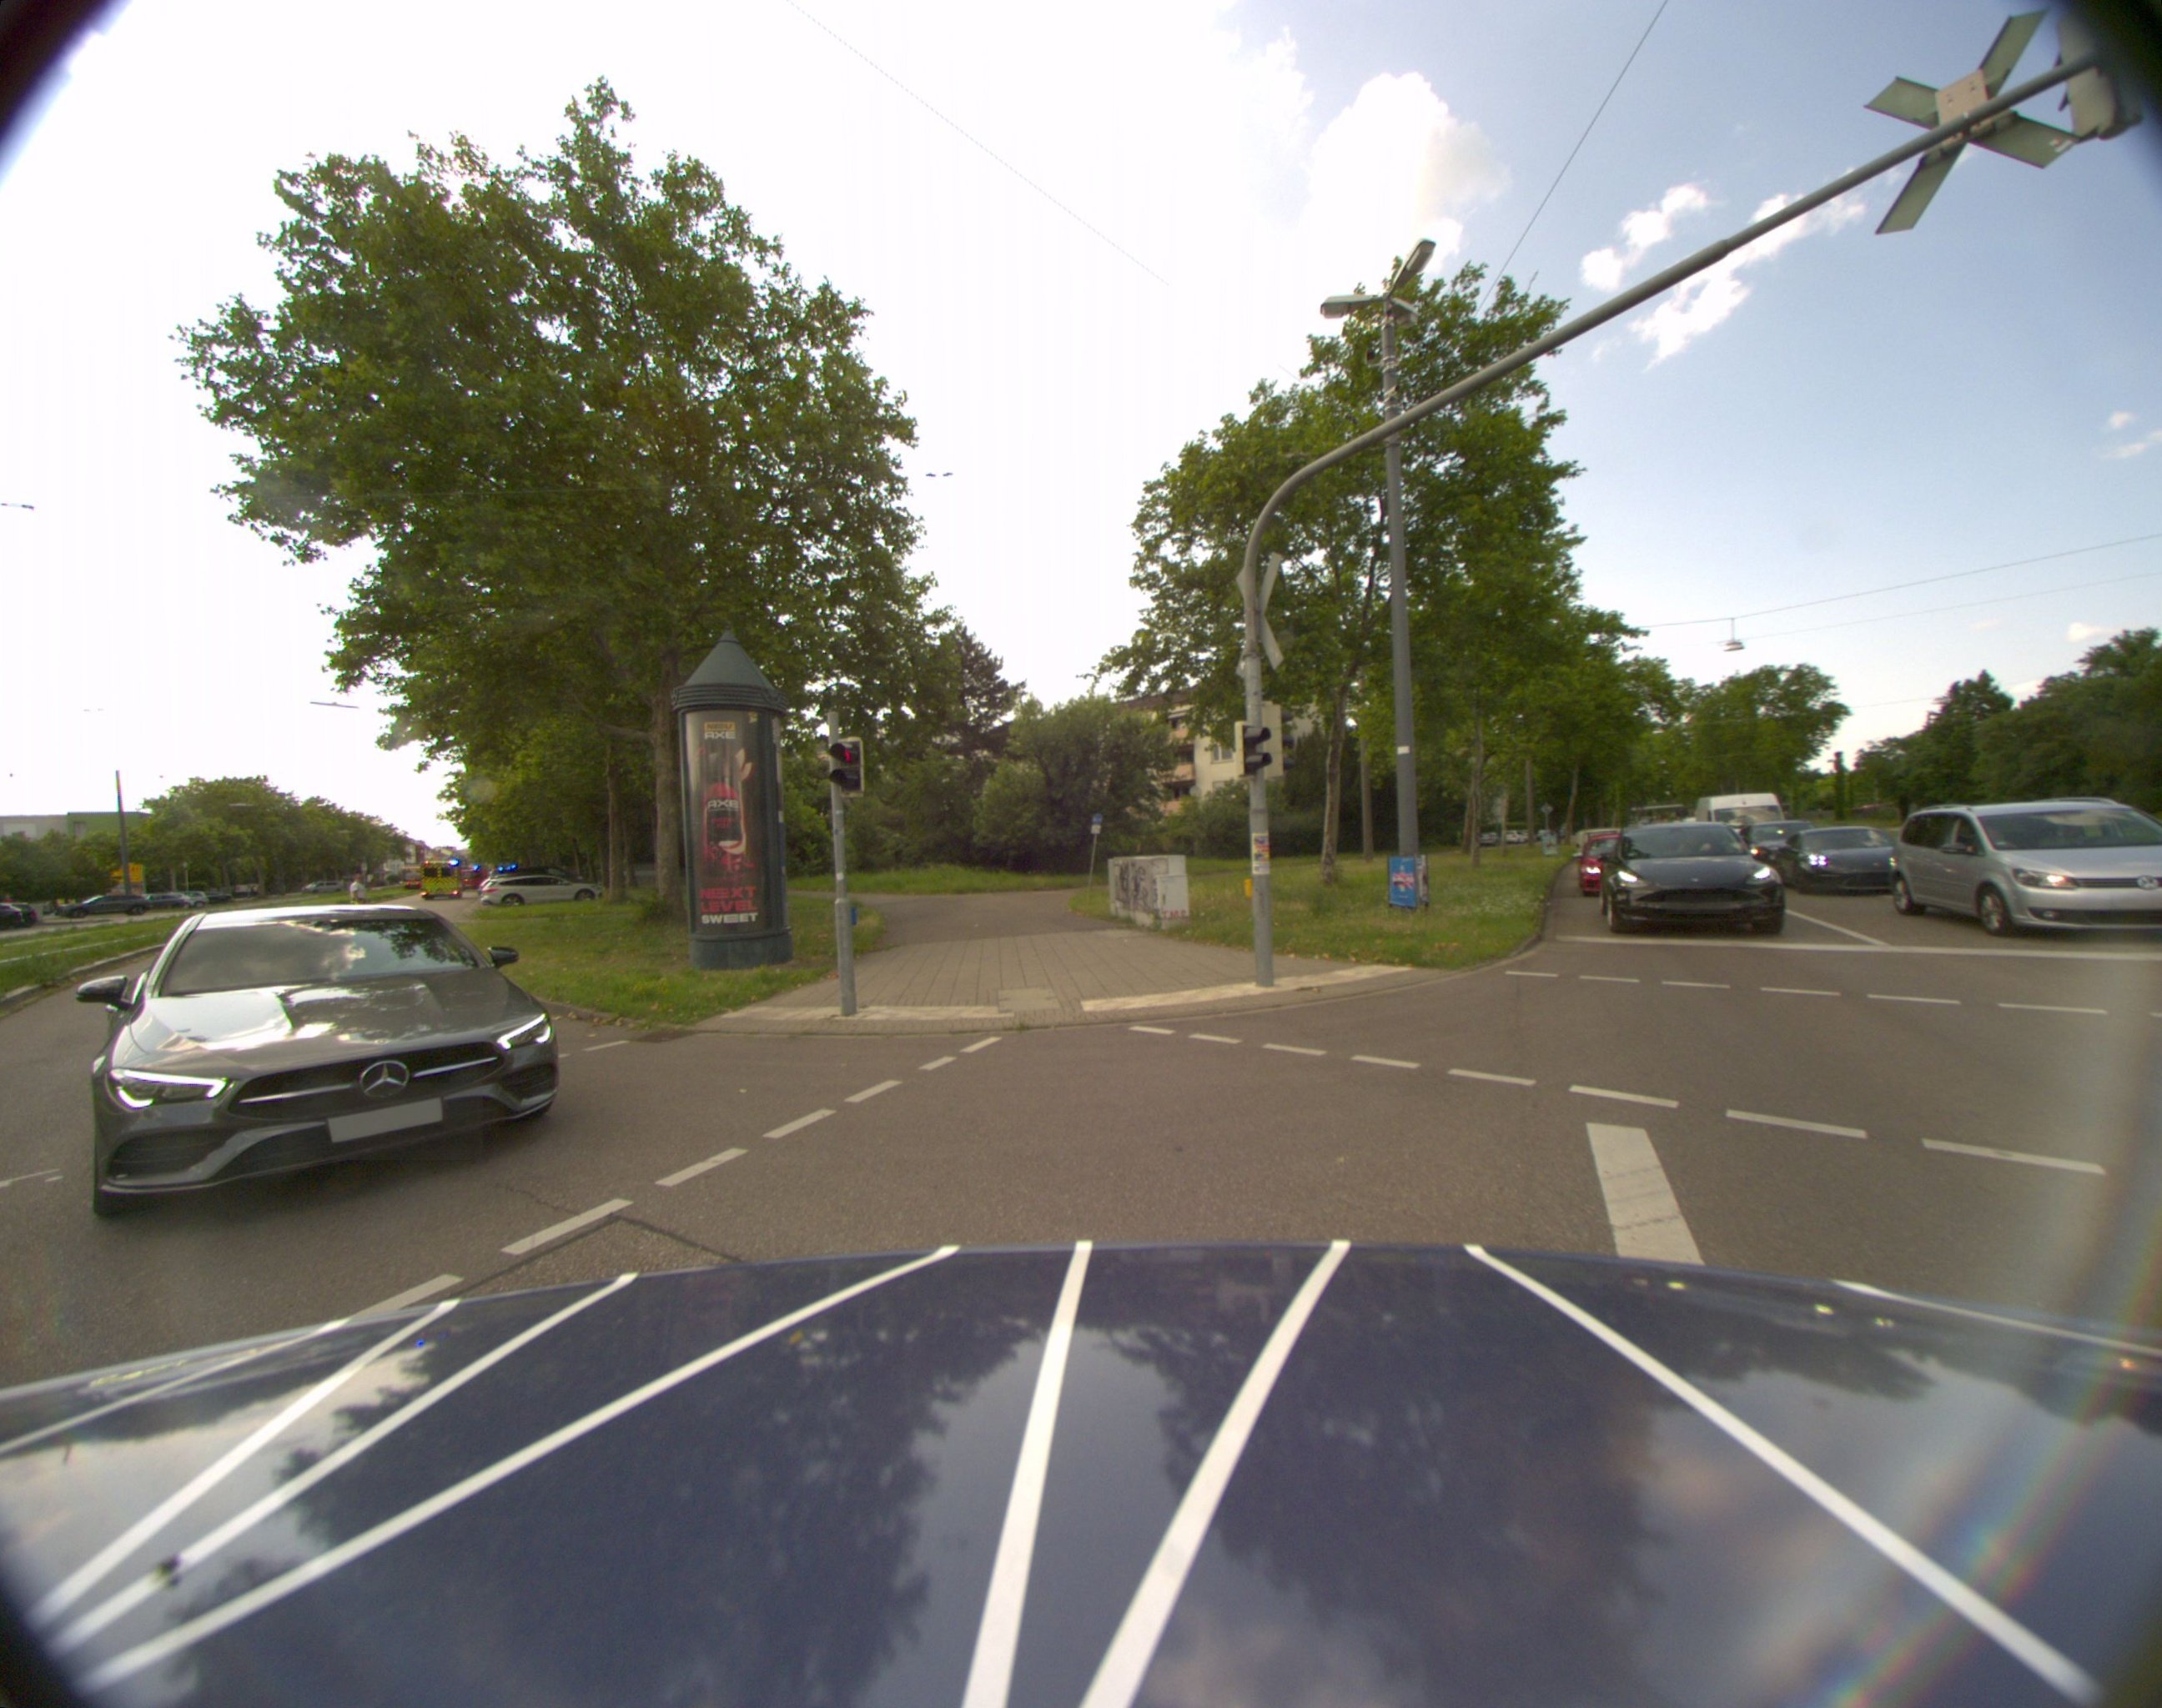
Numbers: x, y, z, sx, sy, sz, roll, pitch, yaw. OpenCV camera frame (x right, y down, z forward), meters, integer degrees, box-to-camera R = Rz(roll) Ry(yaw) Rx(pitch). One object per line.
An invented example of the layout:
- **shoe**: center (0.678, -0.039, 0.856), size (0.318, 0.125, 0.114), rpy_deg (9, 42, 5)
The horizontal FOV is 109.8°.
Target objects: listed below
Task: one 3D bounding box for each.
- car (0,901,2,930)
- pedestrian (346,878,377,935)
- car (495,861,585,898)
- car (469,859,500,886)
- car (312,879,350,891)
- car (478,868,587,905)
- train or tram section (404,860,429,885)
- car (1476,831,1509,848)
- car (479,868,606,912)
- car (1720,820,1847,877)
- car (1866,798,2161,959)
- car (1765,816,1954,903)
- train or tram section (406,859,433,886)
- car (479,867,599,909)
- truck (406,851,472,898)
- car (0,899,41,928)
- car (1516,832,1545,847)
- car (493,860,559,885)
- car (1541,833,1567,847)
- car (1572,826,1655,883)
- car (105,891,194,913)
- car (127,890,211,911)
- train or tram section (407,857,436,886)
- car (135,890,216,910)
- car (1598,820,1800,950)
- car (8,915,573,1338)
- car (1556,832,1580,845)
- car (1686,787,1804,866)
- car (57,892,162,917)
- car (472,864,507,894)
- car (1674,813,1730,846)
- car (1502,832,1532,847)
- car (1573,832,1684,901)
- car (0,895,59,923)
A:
- **car**: center (-57.632, 3.191, 37.733), size (1.897, 1.620, 4.322), rpy_deg (-2, 0, 25)
- **pedestrian**: center (-21.736, 1.575, 22.967), size (0.588, 1.674, 0.493), rpy_deg (-3, 1, -39)
- **car**: center (-34.830, 1.623, 49.013), size (4.564, 2.002, 1.995), rpy_deg (-3, 1, -36)
- **car**: center (-76.112, 2.346, 97.002), size (2.981, 3.310, 7.440), rpy_deg (-1, -1, -38)
- **car**: center (-123.309, 5.129, 124.950), size (1.818, 1.827, 4.006), rpy_deg (-2, -1, 22)
- **car**: center (-29.451, 1.734, 40.863), size (4.551, 1.634, 1.995), rpy_deg (-3, 0, -39)
- **train or tram section**: center (-102.918, 2.895, 117.652), size (2.500, 3.576, 7.401), rpy_deg (-4, 2, -43)
- **car**: center (41.413, -1.485, 76.418), size (3.664, 1.586, 1.772), rpy_deg (-1, -1, -43)
- **car**: center (-24.620, 1.601, 34.805), size (4.551, 1.634, 1.995), rpy_deg (-3, 0, -39)
- **car**: center (19.896, -0.210, 21.723), size (1.760, 1.367, 4.351), rpy_deg (-4, 0, 31)
- **car**: center (12.392, 0.193, 9.852), size (1.926, 1.642, 4.509), rpy_deg (-4, 0, 31)
- **car**: center (15.724, 0.055, 15.614), size (1.800, 1.499, 4.007), rpy_deg (-4, 0, 33)
- **train or tram section**: center (-92.936, 2.539, 106.758), size (2.500, 3.576, 7.401), rpy_deg (-4, 2, -43)
- **car**: center (-26.216, 1.609, 36.831), size (4.551, 1.634, 1.995), rpy_deg (-3, 0, -39)
- **truck**: center (-50.109, 1.522, 59.491), size (3.199, 3.298, 7.503), rpy_deg (-4, 1, -36)
- **car**: center (-59.175, 3.290, 40.442), size (1.856, 1.495, 4.177), rpy_deg (-2, 0, 26)
- **car**: center (50.887, -1.600, 85.996), size (3.664, 1.586, 1.772), rpy_deg (-1, -1, -43)
- **car**: center (-80.699, 2.664, 110.541), size (7.474, 3.310, 2.967), rpy_deg (-1, -1, -42)
- **car**: center (58.504, -1.688, 94.003), size (3.664, 1.586, 1.772), rpy_deg (-1, -1, -43)
- **car**: center (17.006, -0.047, 24.445), size (1.798, 1.560, 4.509), rpy_deg (-4, 0, 31)
- **car**: center (-76.249, 3.893, 62.288), size (1.897, 1.356, 4.322), rpy_deg (-2, 1, 31)
- **car**: center (-78.049, 3.978, 65.079), size (1.897, 1.356, 4.322), rpy_deg (-2, 1, 31)
- **train or tram section**: center (-87.949, 2.331, 101.321), size (2.500, 3.576, 7.401), rpy_deg (-4, 2, -43)
- **car**: center (-79.780, 4.052, 67.007), size (1.897, 1.356, 4.322), rpy_deg (-2, 1, 31)
- **car**: center (9.442, 0.358, 12.005), size (1.927, 1.642, 4.588), rpy_deg (-4, 0, 33)
- **car**: center (-5.294, 1.215, 5.063), size (4.593, 1.385, 1.845), rpy_deg (-2, 0, 39)
- **car**: center (63.926, -2.020, 99.758), size (3.664, 1.586, 1.772), rpy_deg (-1, -1, -43)
- **car**: center (24.606, -1.029, 28.424), size (2.222, 2.515, 5.943), rpy_deg (-4, 0, 31)
- **car**: center (-69.558, 3.598, 54.488), size (1.897, 1.356, 4.322), rpy_deg (-2, 1, 29)
- **car**: center (-67.835, 2.878, 87.135), size (2.981, 3.297, 7.440), rpy_deg (-1, -1, -38)
- **car**: center (33.925, -1.334, 41.585), size (1.760, 1.637, 4.351), rpy_deg (-2, 1, 31)
- **car**: center (47.704, -1.557, 83.057), size (3.664, 1.586, 1.772), rpy_deg (-1, -1, -43)
- **car**: center (13.333, 0.249, 18.732), size (1.798, 1.383, 4.509), rpy_deg (-4, 0, 31)
- **car**: center (-63.699, 3.279, 44.622), size (1.856, 1.495, 4.178), rpy_deg (-2, 0, 31)
